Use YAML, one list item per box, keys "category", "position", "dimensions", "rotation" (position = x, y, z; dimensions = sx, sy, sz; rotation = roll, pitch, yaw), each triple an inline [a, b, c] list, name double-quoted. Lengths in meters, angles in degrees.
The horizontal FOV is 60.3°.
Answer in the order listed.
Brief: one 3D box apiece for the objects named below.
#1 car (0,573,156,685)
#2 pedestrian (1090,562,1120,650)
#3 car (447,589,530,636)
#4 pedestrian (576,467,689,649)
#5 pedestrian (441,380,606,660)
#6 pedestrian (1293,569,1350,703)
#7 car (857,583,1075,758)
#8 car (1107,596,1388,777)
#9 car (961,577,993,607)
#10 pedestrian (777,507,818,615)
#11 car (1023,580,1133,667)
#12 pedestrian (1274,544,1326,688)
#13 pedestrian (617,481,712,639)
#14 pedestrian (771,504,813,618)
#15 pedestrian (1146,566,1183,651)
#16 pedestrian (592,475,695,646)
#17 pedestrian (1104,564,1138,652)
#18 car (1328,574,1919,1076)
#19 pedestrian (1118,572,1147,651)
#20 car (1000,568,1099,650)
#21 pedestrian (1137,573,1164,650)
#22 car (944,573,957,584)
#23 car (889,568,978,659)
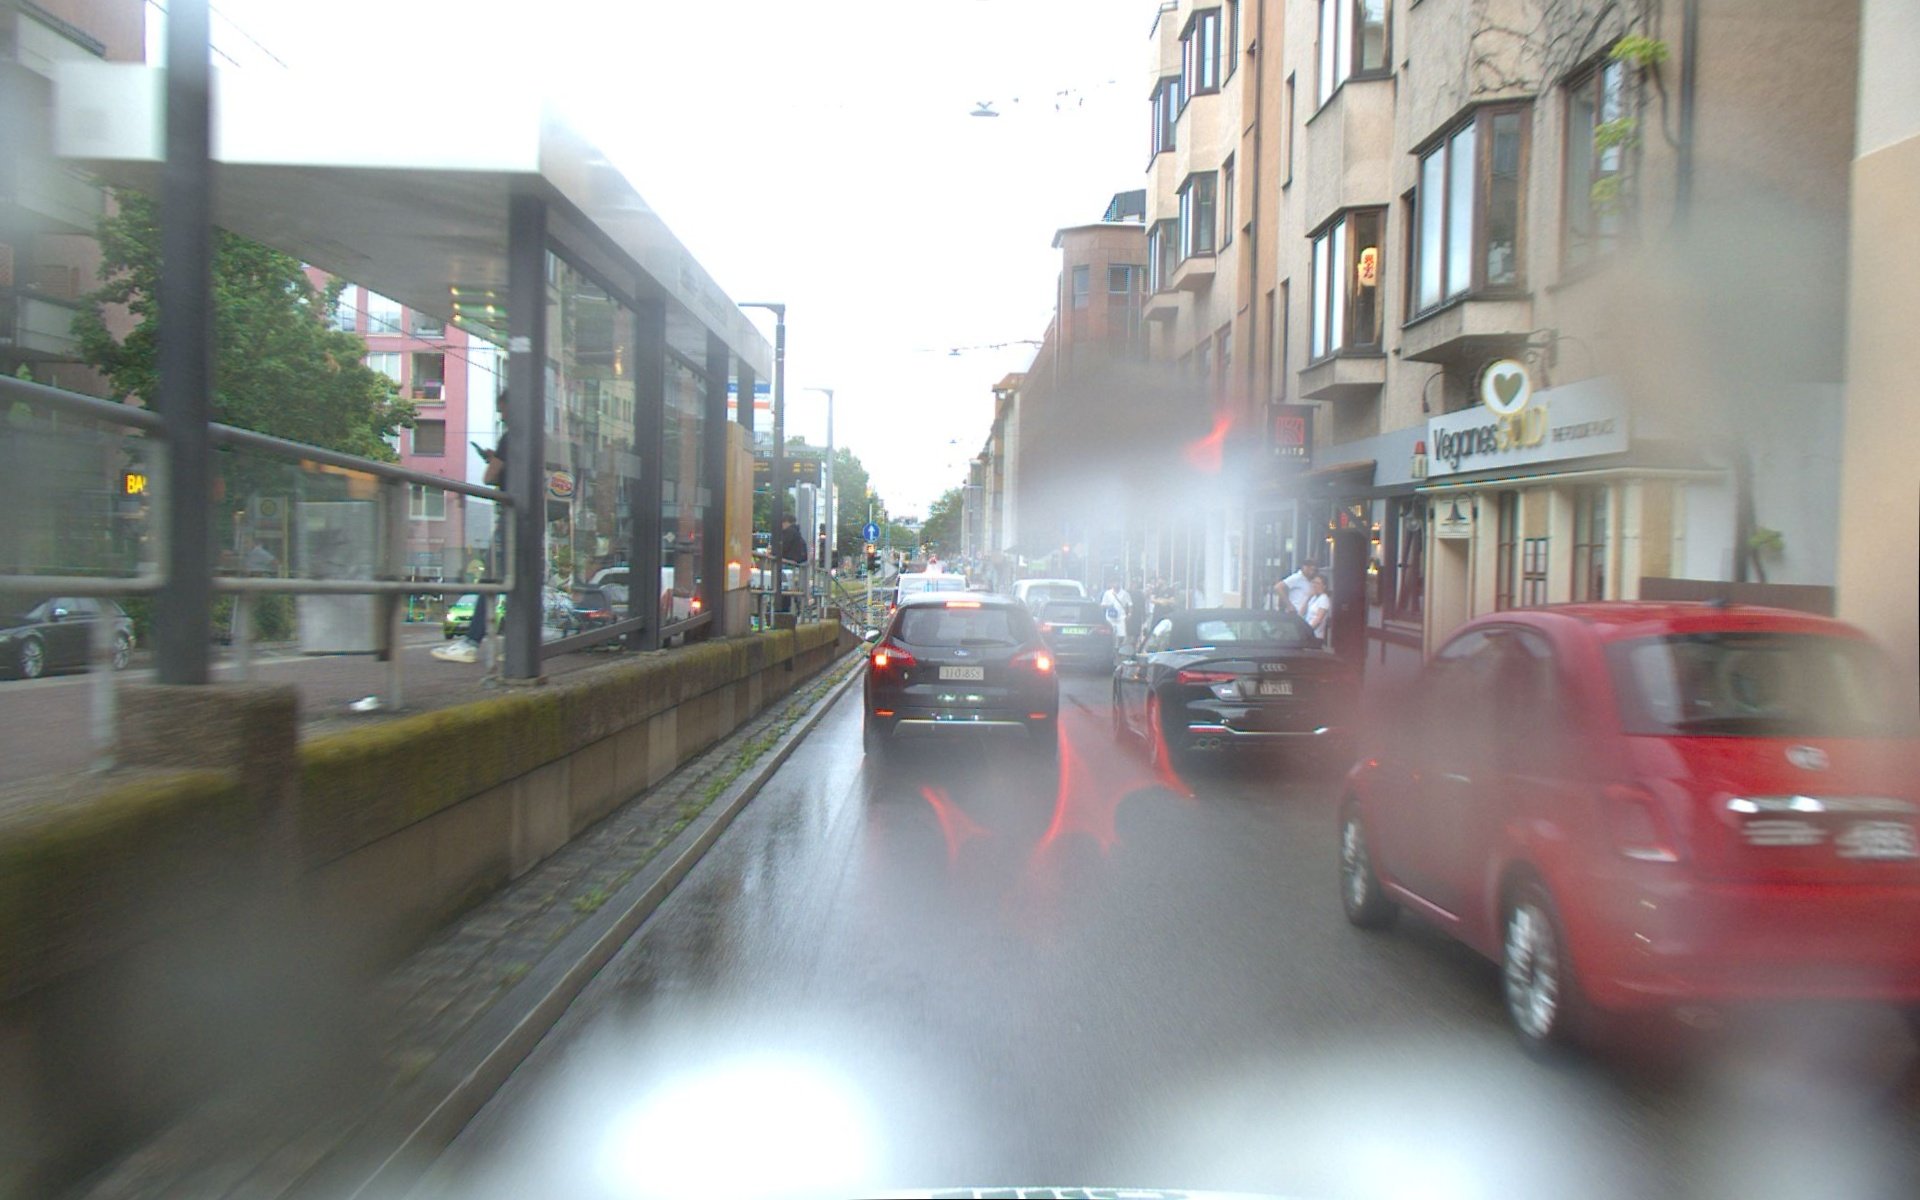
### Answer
- category: "car"
  position: [-14.857, 0.415, 26.741]
  dimensions: [1.605, 1.652, 4.370]
  rotation: [0, 0, -1]
- category: "pedestrian"
  position: [3.307, 0.131, 37.774]
  dimensions: [0.638, 1.982, 0.533]
  rotation: [0, 0, 0]
- category: "car"
  position: [-14.030, 0.344, 49.365]
  dimensions: [1.606, 1.361, 3.733]
  rotation: [0, 0, -3]
- category: "pedestrian"
  position: [-2.449, -0.309, 12.442]
  dimensions: [0.713, 1.324, 0.701]
  rotation: [0, 0, -2]
- category: "pedestrian"
  position: [-2.809, -0.505, 10.717]
  dimensions: [0.898, 1.754, 0.700]
  rotation: [0, 0, -3]
- category: "pedestrian"
  position: [4.682, 0.460, 21.431]
  dimensions: [0.534, 1.710, 0.595]
  rotation: [0, 0, -9]
- category: "car"
  position: [0.038, 0.593, 15.885]
  dimensions: [1.867, 1.488, 3.444]
  rotation: [0, 0, -1]
- category: "car"
  position: [2.583, 0.718, 15.894]
  dimensions: [1.868, 1.488, 4.244]
  rotation: [0, 0, -2]
- category: "car"
  position: [0.906, -0.414, 88.159]
  dimensions: [1.664, 1.505, 3.867]
  rotation: [-2, 0, 0]
- category: "pedestrian"
  position: [-2.441, -0.581, 24.877]
  dimensions: [0.572, 1.585, 0.700]
  rotation: [0, 0, -3]
- category: "car"
  position: [2.312, 0.432, 33.377]
  dimensions: [1.867, 1.644, 4.413]
  rotation: [0, 0, -1]
- category: "pedestrian"
  position: [4.545, 0.206, 22.113]
  dimensions: [0.519, 1.891, 0.556]
  rotation: [0, 0, -9]
- category: "pedestrian"
  position: [-2.522, -0.338, 14.190]
  dimensions: [0.713, 1.324, 0.700]
  rotation: [0, 0, -3]
- category: "pedestrian"
  position: [-2.447, -0.563, 24.168]
  dimensions: [0.572, 1.637, 0.700]
  rotation: [0, 0, -3]
- category: "pedestrian"
  position: [4.484, 0.191, 36.336]
  dimensions: [0.740, 1.851, 0.588]
  rotation: [0, 0, 0]
- category: "pedestrian"
  position: [-2.512, -0.312, 13.194]
  dimensions: [0.713, 1.324, 0.700]
  rotation: [0, 0, -3]
- category: "pedestrian"
  position: [3.511, 0.171, 36.075]
  dimensions: [0.681, 1.887, 0.652]
  rotation: [0, 0, 0]
- category: "car"
  position: [2.670, 0.658, 6.619]
  dimensions: [1.612, 1.488, 3.413]
  rotation: [0, 0, -1]
- category: "pedestrian"
  position: [3.837, 0.244, 36.814]
  dimensions: [0.598, 1.744, 0.581]
  rotation: [0, 0, 0]
- category: "car"
  position: [2.060, 0.182, 39.306]
  dimensions: [1.868, 1.838, 4.775]
  rotation: [0, 0, -3]
- category: "pedestrian"
  position: [4.394, 0.261, 38.119]
  dimensions: [0.564, 1.744, 0.477]
  rotation: [0, 0, 0]
- category: "car"
  position: [-1.483, -3.327, 259.188]
  dimensions: [1.867, 1.662, 4.574]
  rotation: [0, 0, 0]
- category: "car"
  position: [-0.575, 0.273, 36.879]
  dimensions: [1.867, 1.897, 4.573]
  rotation: [0, 0, -1]
